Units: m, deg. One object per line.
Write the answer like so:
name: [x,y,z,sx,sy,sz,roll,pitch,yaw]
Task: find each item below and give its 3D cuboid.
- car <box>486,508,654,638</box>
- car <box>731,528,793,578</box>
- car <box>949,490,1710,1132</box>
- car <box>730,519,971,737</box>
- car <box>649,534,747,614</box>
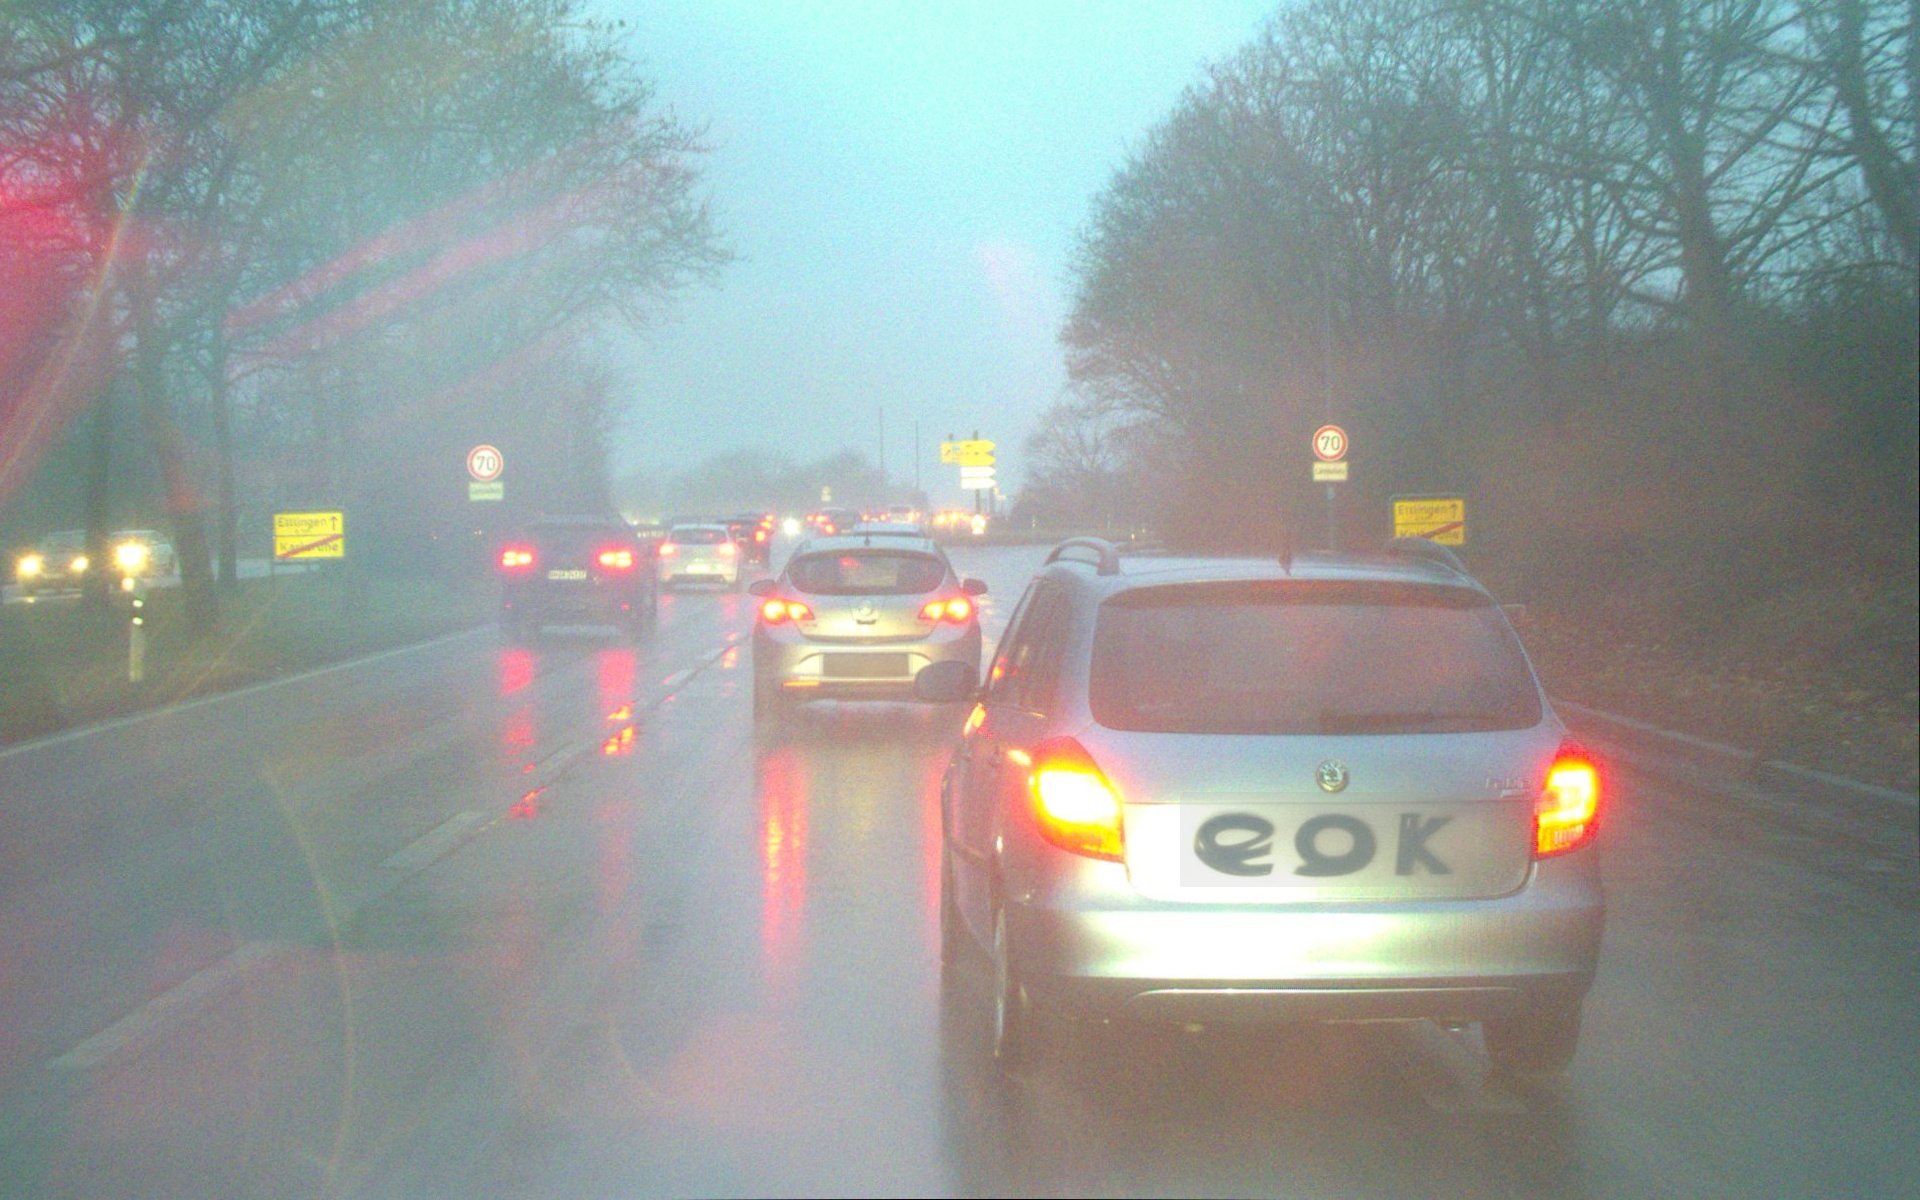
car: [-5.167,-0.353,45.966,1.822,1.642,4.000,-1,0,-1]
car: [-5.448,-1.291,94.852,1.505,1.334,4.000,-1,0,-1]
car: [0.956,0.555,11.181,1.933,1.642,4.466,1,0,-1]
car: [-0.860,0.224,28.573,1.822,1.642,4.466,1,0,-1]
car: [-5.566,-0.554,73.460,1.822,1.642,4.000,-1,0,-1]
